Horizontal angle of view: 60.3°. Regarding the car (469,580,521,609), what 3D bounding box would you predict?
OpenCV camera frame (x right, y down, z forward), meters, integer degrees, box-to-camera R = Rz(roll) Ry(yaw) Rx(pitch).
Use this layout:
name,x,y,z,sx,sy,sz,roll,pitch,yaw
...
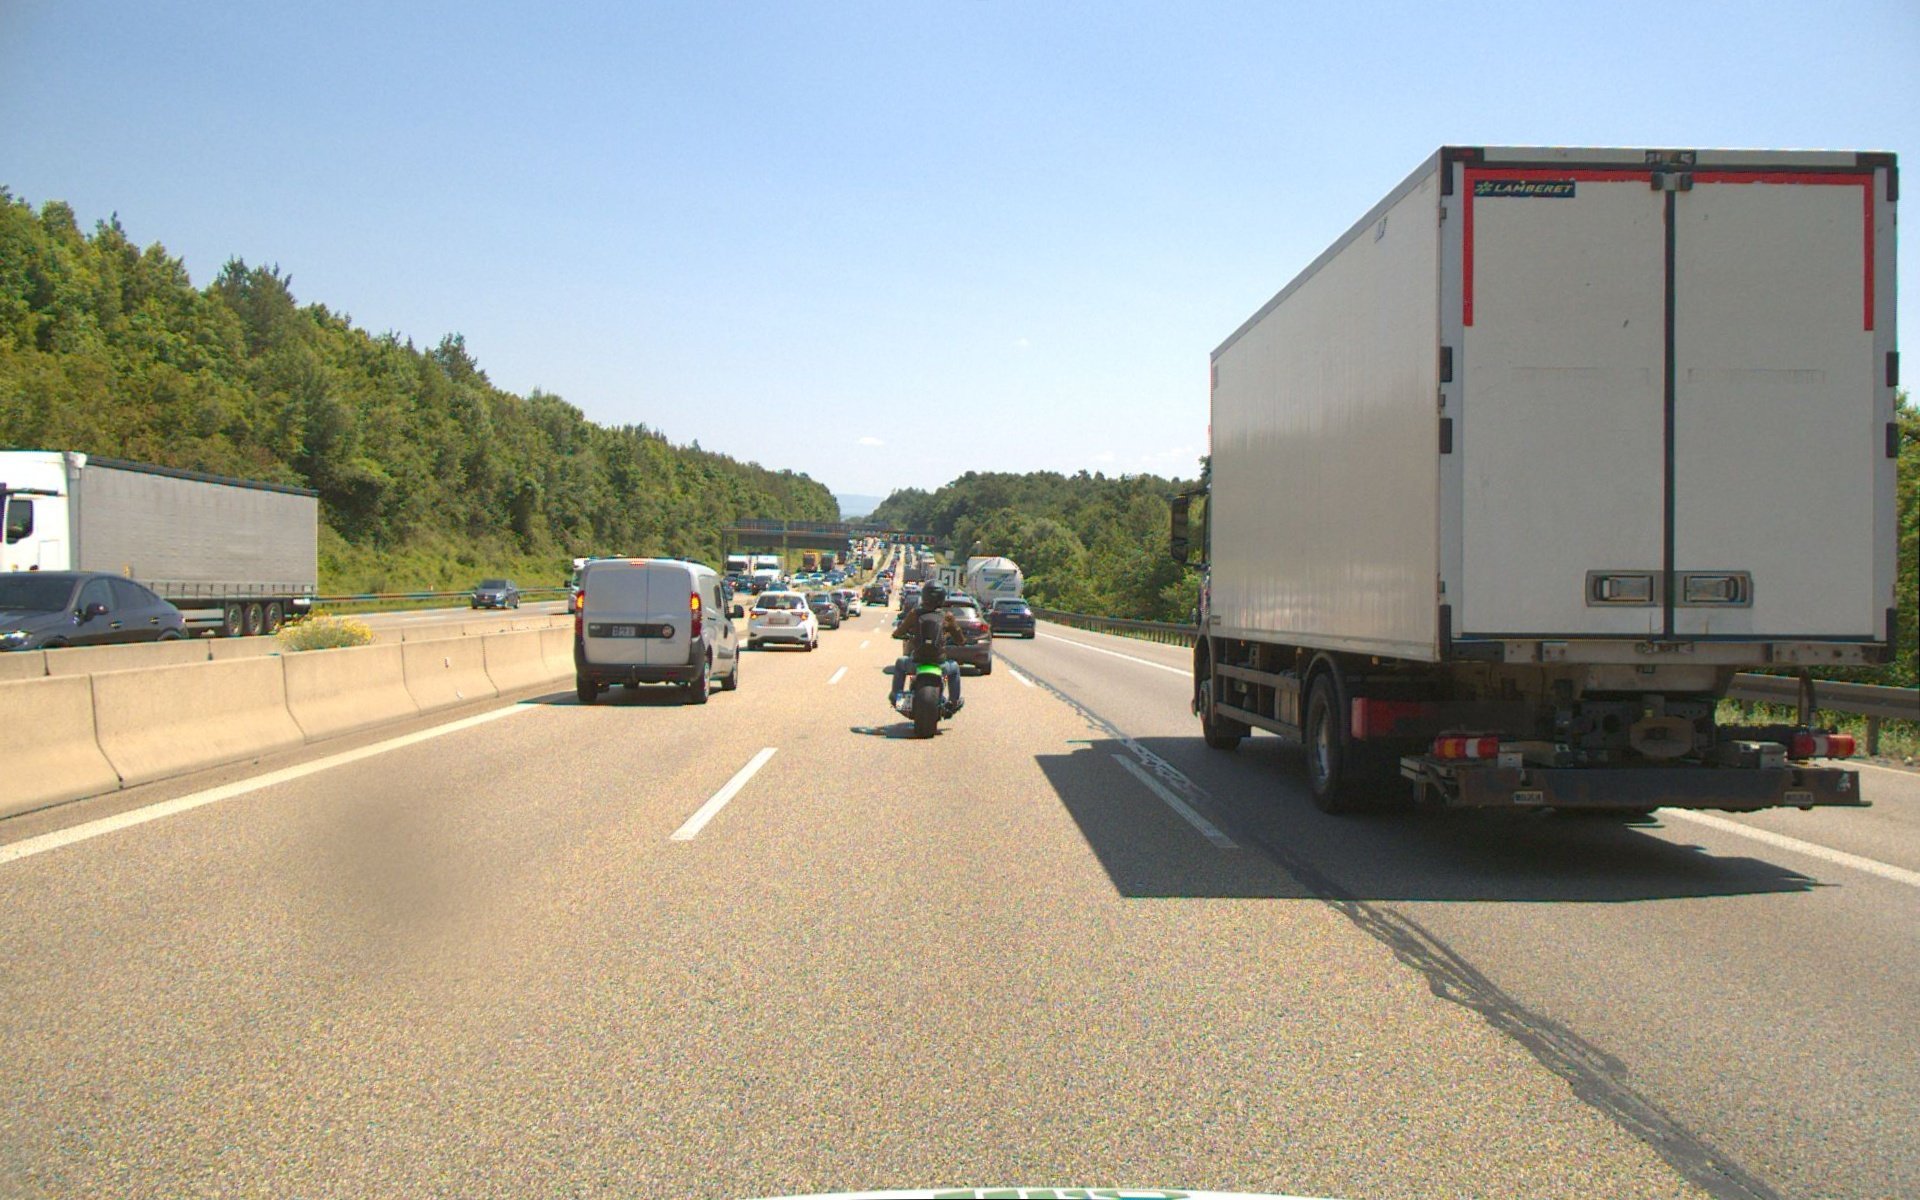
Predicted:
name,x,y,z,sx,sy,sz,roll,pitch,yaw
car,-24.360,-0.302,86.808,1.545,1.487,4.387,1,0,-1

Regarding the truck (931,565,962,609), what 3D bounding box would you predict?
name,x,y,z,sx,sy,sz,roll,pitch,yaw
truck,-1.524,-1.450,183.796,2.972,4.621,9.979,4,1,-2

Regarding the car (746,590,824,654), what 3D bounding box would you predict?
name,x,y,z,sx,sy,sz,roll,pitch,yaw
car,-4.549,0.533,43.395,1.665,1.504,3.999,3,1,-2

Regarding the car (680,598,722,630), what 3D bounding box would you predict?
name,x,y,z,sx,sy,sz,roll,pitch,yaw
car,-13.454,0.723,86.074,1.676,1.564,4.127,1,0,-2

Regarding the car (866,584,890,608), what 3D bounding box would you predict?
name,x,y,z,sx,sy,sz,roll,pitch,yaw
car,-6.776,-0.364,137.244,1.842,1.892,3.999,3,0,-2

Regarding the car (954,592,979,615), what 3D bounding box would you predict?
name,x,y,z,sx,sy,sz,roll,pitch,yaw
car,0.475,0.250,126.313,1.751,1.582,3.802,3,1,-2

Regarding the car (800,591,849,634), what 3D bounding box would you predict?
name,x,y,z,sx,sy,sz,roll,pitch,yaw
car,-5.259,0.459,64.683,1.665,1.504,3.999,3,1,-2

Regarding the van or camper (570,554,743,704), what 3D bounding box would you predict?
name,x,y,z,sx,sy,sz,roll,pitch,yaw
van or camper,-4.195,0.387,23.479,1.759,1.925,4.159,0,0,-1

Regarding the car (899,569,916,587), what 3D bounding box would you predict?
name,x,y,z,sx,sy,sz,roll,pitch,yaw
car,-7.997,-3.392,253.402,2.454,2.632,5.014,2,1,-2

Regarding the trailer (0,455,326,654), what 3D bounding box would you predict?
name,x,y,z,sx,sy,sz,roll,pitch,yaw
trailer,-19.146,-0.895,40.012,2.756,3.976,13.820,1,0,-2

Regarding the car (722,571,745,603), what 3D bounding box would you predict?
name,x,y,z,sx,sy,sz,roll,pitch,yaw
car,-28.951,-1.659,211.644,2.400,3.941,4.564,1,0,-2

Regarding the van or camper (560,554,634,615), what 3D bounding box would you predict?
name,x,y,z,sx,sy,sz,roll,pitch,yaw
van or camper,-17.300,-0.690,79.157,2.224,2.783,6.803,1,0,-2

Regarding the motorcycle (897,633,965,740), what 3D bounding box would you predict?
name,x,y,z,sx,sy,sz,roll,pitch,yaw
motorcycle,-0.314,0.924,18.305,0.677,1.033,2.121,2,0,-1

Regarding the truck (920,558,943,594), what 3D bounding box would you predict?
name,x,y,z,sx,sy,sz,roll,pitch,yaw
truck,-4.402,-3.678,251.839,2.972,5.228,9.979,3,1,-2

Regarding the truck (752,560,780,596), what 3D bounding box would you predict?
name,x,y,z,sx,sy,sz,roll,pitch,yaw
truck,-23.949,-2.677,204.270,2.783,4.287,5.658,2,0,-2

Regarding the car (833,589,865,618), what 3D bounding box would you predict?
name,x,y,z,sx,sy,sz,roll,pitch,yaw
car,-6.334,0.186,94.693,1.665,1.504,3.999,3,1,-2

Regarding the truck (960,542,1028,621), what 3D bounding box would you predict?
name,x,y,z,sx,sy,sz,roll,pitch,yaw
truck,1.636,-0.880,83.266,2.928,3.735,9.284,1,0,-2

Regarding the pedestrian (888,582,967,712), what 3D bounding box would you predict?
name,x,y,z,sx,sy,sz,roll,pitch,yaw
pedestrian,-0.349,0.501,18.145,0.832,1.385,0.961,1,0,-1

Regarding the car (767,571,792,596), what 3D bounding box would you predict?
name,x,y,z,sx,sy,sz,roll,pitch,yaw
car,-14.989,-1.347,137.351,1.854,1.982,3.997,1,0,-4

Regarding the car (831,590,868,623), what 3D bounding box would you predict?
name,x,y,z,sx,sy,sz,roll,pitch,yaw
car,-5.583,0.315,83.893,1.665,1.504,3.999,3,1,-2

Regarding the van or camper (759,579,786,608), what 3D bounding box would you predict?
name,x,y,z,sx,sy,sz,roll,pitch,yaw
van or camper,-19.312,-0.674,170.642,2.186,2.809,6.834,1,0,-2

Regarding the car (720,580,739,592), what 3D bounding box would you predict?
name,x,y,z,sx,sy,sz,roll,pitch,yaw
car,-27.483,-1.618,197.620,1.727,1.394,4.500,1,0,-2

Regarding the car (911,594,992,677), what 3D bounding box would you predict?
name,x,y,z,sx,sy,sz,roll,pitch,yaw
car,-0.134,0.652,32.929,1.501,1.536,4.000,1,0,1

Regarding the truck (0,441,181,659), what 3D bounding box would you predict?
name,x,y,z,sx,sy,sz,roll,pitch,yaw
truck,-18.891,-0.911,33.760,2.756,3.976,7.311,1,0,-3

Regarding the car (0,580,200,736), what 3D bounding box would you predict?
name,x,y,z,sx,sy,sz,roll,pitch,yaw
car,-11.138,0.605,20.055,1.773,1.669,4.602,1,0,-1

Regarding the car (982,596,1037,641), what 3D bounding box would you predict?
name,x,y,z,sx,sy,sz,roll,pitch,yaw
car,1.858,0.680,63.076,1.792,1.496,3.999,3,1,-2

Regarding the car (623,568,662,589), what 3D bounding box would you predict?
name,x,y,z,sx,sy,sz,roll,pitch,yaw
car,-21.036,-1.419,109.752,1.765,1.370,4.722,1,0,-2

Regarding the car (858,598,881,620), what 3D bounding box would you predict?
name,x,y,z,sx,sy,sz,roll,pitch,yaw
car,-8.357,0.826,152.687,1.953,2.049,3.999,1,0,-1

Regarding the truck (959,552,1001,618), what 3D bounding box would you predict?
name,x,y,z,sx,sy,sz,roll,pitch,yaw
truck,1.087,-0.799,92.333,1.954,3.584,4.747,1,0,-4

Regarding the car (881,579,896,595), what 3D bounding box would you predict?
name,x,y,z,sx,sy,sz,roll,pitch,yaw
car,-9.386,-1.702,218.011,1.890,2.049,3.999,0,0,-1

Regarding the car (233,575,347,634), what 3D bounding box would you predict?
name,x,y,z,sx,sy,sz,roll,pitch,yaw
car,-22.076,0.126,54.715,1.773,1.842,5.106,1,0,-1

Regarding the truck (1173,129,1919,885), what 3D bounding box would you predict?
name,x,y,z,sx,sy,sz,roll,pitch,yaw
truck,3.804,-0.512,13.561,2.634,3.944,9.777,0,0,-1
